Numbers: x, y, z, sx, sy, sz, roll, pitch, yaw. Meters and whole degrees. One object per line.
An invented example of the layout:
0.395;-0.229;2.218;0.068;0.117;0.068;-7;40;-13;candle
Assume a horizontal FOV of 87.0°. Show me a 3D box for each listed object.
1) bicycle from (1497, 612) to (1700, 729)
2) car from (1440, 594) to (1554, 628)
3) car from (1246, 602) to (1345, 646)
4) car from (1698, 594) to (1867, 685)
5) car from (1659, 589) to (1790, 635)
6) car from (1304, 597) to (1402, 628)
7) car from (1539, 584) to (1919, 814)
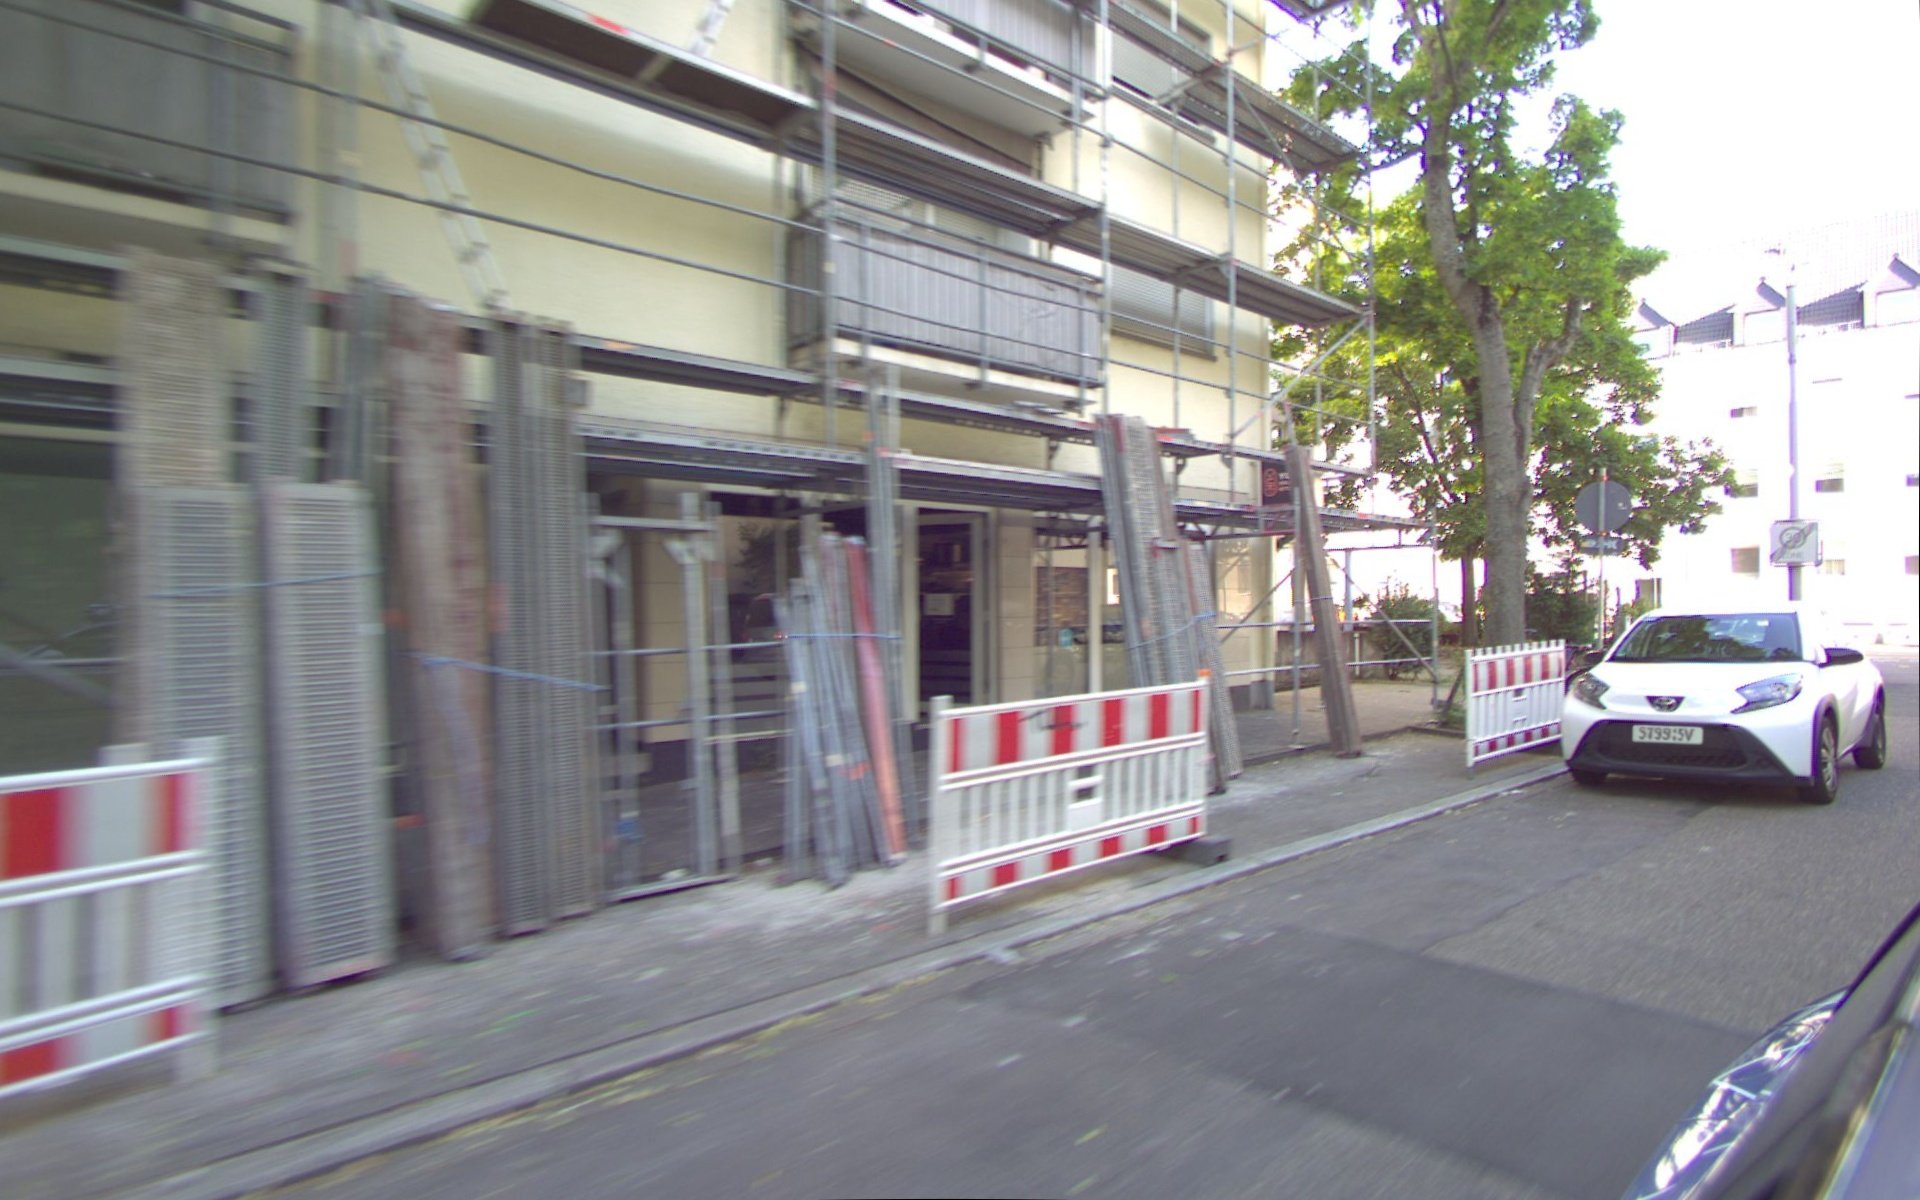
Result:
7.580;0.792;12.076;1.961;1.169;0.742;3;3;36;bicycle
22.520;0.436;42.562;3.986;1.369;1.526;-1;0;44;car
11.191;0.778;33.794;2.866;1.373;1.245;-1;0;39;car
15.322;0.642;18.762;4.428;1.425;1.664;0;3;-41;car
28.032;0.457;37.170;3.692;1.628;1.624;-2;-1;43;car
18.164;0.552;46.869;3.986;1.369;1.526;-1;0;44;car
6.820;0.675;8.780;3.893;1.555;1.806;0;-1;-39;car
